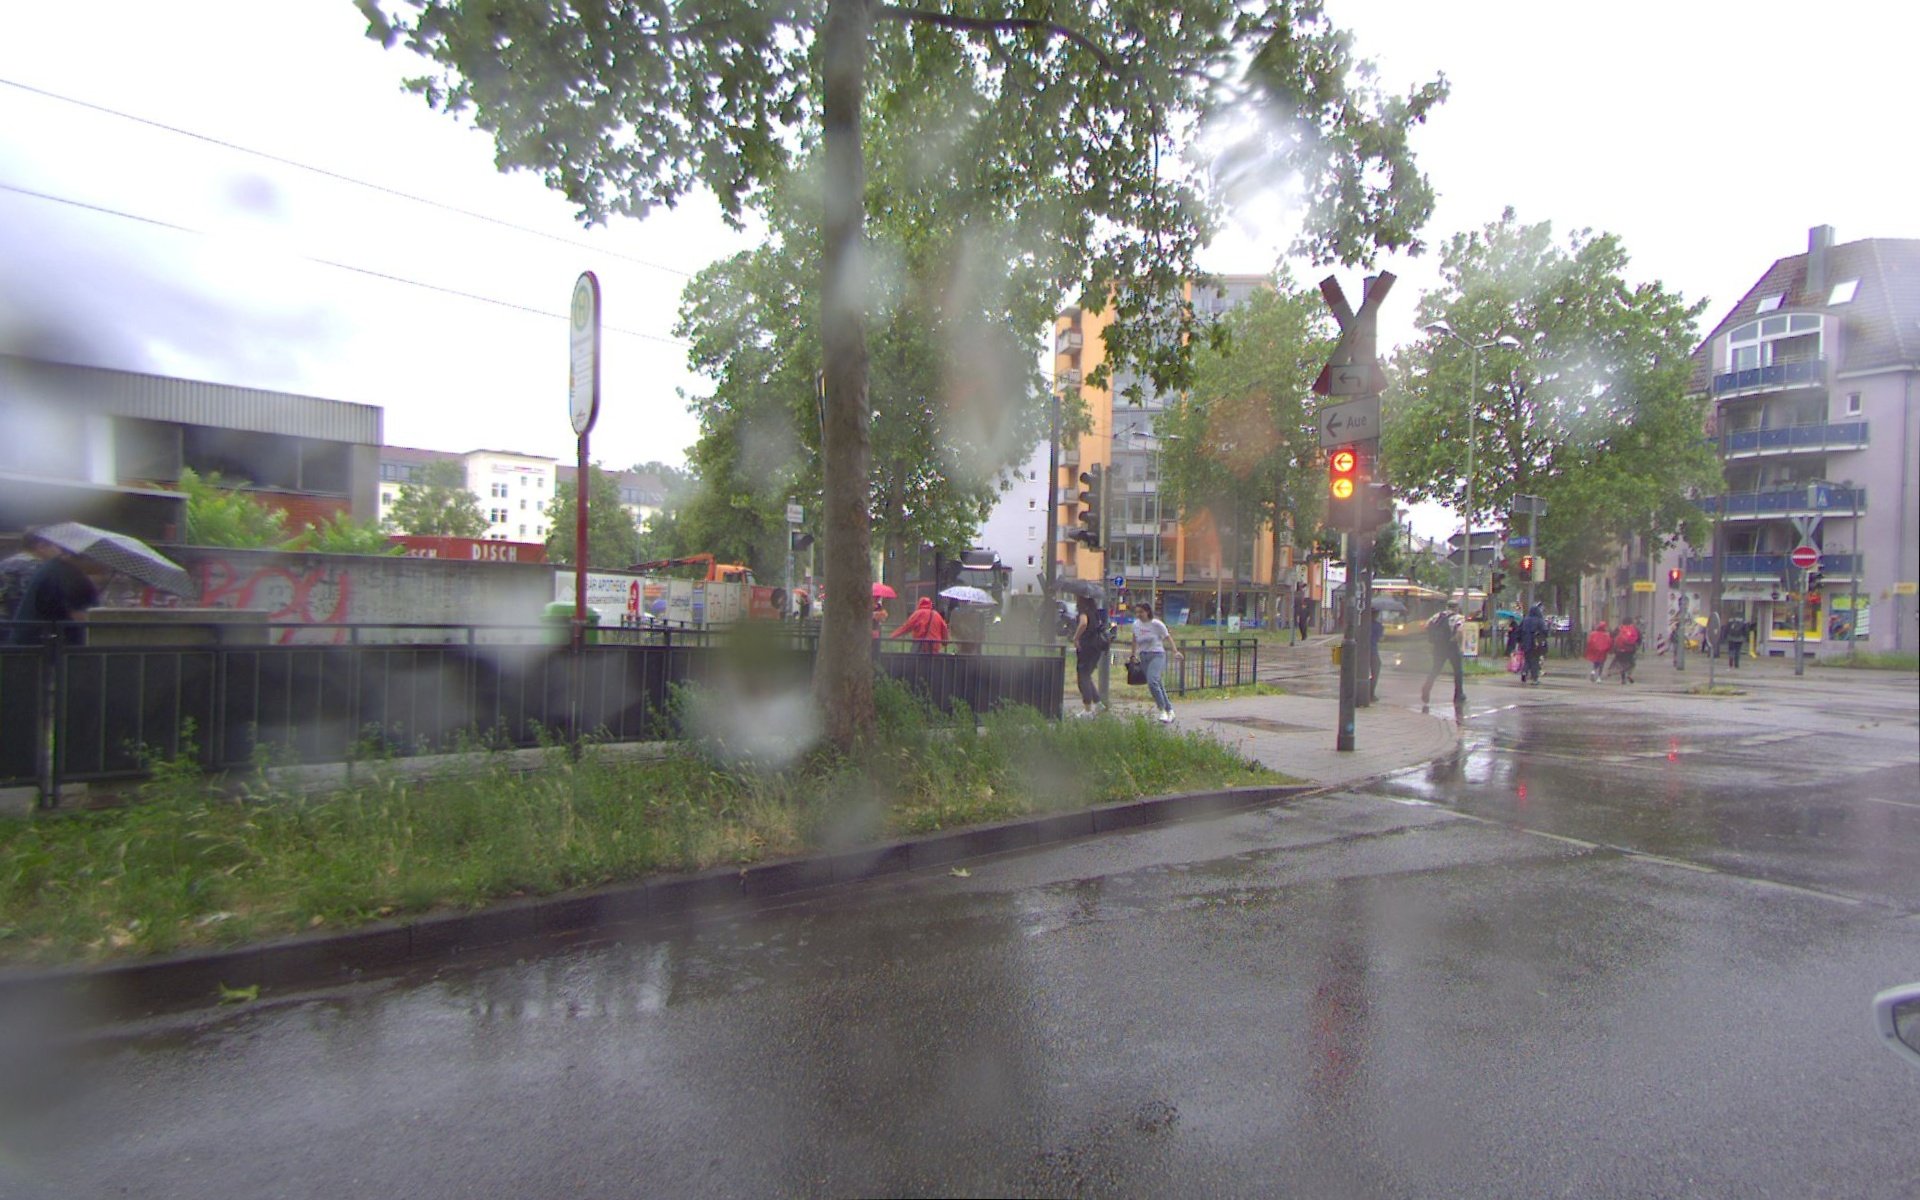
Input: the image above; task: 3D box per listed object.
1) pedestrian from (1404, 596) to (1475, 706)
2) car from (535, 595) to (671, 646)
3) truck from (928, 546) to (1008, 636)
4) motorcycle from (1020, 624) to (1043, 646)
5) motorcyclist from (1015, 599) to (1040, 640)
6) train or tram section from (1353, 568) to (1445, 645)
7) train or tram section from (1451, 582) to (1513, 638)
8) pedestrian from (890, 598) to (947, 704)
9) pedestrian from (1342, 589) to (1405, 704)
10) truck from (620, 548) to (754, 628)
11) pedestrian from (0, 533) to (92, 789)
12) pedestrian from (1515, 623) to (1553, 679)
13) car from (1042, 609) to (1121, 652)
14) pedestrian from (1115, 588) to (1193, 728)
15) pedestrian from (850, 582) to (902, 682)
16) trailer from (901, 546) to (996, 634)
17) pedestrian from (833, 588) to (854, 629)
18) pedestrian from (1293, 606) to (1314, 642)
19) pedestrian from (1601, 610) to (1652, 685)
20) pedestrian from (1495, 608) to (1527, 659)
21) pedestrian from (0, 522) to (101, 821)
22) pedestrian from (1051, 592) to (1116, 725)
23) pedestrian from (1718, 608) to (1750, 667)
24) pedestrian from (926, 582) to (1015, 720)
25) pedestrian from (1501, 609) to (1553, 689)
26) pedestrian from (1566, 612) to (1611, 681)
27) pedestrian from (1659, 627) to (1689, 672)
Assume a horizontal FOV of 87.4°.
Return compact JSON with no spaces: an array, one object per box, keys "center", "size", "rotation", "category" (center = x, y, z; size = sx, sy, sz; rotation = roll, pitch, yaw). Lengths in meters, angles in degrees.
[{"center":[8.037,0.830,16.844],"size":[0.855,1.778,0.826],"rotation":[2,1,41],"category":"pedestrian"},{"center":[-10.420,0.585,29.396],"size":[3.447,1.323,1.405],"rotation":[2,0,10],"category":"car"},{"center":[0.279,-0.378,46.051],"size":[2.593,3.842,4.444],"rotation":[2,0,-13],"category":"truck"},{"center":[2.887,1.415,40.680],"size":[0.435,0.853,1.543],"rotation":[2,0,-14],"category":"motorcycle"},{"center":[2.727,0.797,40.819],"size":[0.766,1.635,0.773],"rotation":[2,0,-15],"category":"motorcyclist"},{"center":[25.964,0.472,58.711],"size":[2.839,3.818,17.211],"rotation":[2,0,30],"category":"train or tram section"},{"center":[38.012,0.763,72.785],"size":[2.819,3.593,15.338],"rotation":[2,0,32],"category":"train or tram section"},{"center":[-0.635,0.781,15.629],"size":[0.782,1.593,0.659],"rotation":[-2,0,2],"category":"pedestrian"},{"center":[7.103,0.777,17.284],"size":[0.854,1.889,0.892],"rotation":[1,0,16],"category":"pedestrian"},{"center":[-11.834,-0.474,43.731],"size":[5.383,3.205,2.164],"rotation":[2,0,-16],"category":"truck"},{"center":[-5.551,0.346,5.990],"size":[0.603,1.446,0.492],"rotation":[2,0,44],"category":"pedestrian"},{"center":[14.545,1.272,25.461],"size":[0.704,1.367,0.650],"rotation":[1,1,-44],"category":"pedestrian"},{"center":[4.829,1.205,40.481],"size":[1.585,1.551,4.017],"rotation":[1,1,-19],"category":"car"},{"center":[2.535,0.729,13.108],"size":[0.675,1.753,0.752],"rotation":[2,1,42],"category":"pedestrian"},{"center":[-1.646,0.606,19.538],"size":[0.768,1.891,0.936],"rotation":[2,0,-18],"category":"pedestrian"},{"center":[-0.814,-0.453,50.742],"size":[2.593,3.899,10.114],"rotation":[2,0,-13],"category":"trailer"},{"center":[-5.491,0.411,47.282],"size":[0.765,1.891,0.940],"rotation":[2,0,4],"category":"pedestrian"},{"center":[17.312,1.215,50.616],"size":[0.941,1.789,0.952],"rotation":[2,0,20],"category":"pedestrian"},{"center":[14.947,1.048,22.518],"size":[0.809,1.646,0.724],"rotation":[0,0,-37],"category":"pedestrian"},{"center":[19.718,1.193,35.936],"size":[0.943,1.789,0.951],"rotation":[2,0,31],"category":"pedestrian"},{"center":[-6.100,0.433,6.470],"size":[0.837,1.828,0.818],"rotation":[1,1,-41],"category":"pedestrian"},{"center":[1.640,0.764,13.294],"size":[0.782,1.705,0.660],"rotation":[-2,0,8],"category":"pedestrian"},{"center":[25.262,1.220,32.782],"size":[0.777,1.880,0.679],"rotation":[2,1,37],"category":"pedestrian"},{"center":[0.166,0.703,14.174],"size":[0.966,1.851,1.077],"rotation":[-2,0,15],"category":"pedestrian"},{"center":[12.483,1.074,22.141],"size":[0.823,1.721,0.689],"rotation":[-2,0,17],"category":"pedestrian"},{"center":[14.384,1.050,23.000],"size":[0.653,1.540,0.677],"rotation":[1,0,-37],"category":"pedestrian"},{"center":[23.396,1.619,32.913],"size":[0.638,1.414,0.782],"rotation":[1,0,26],"category":"pedestrian"}]
